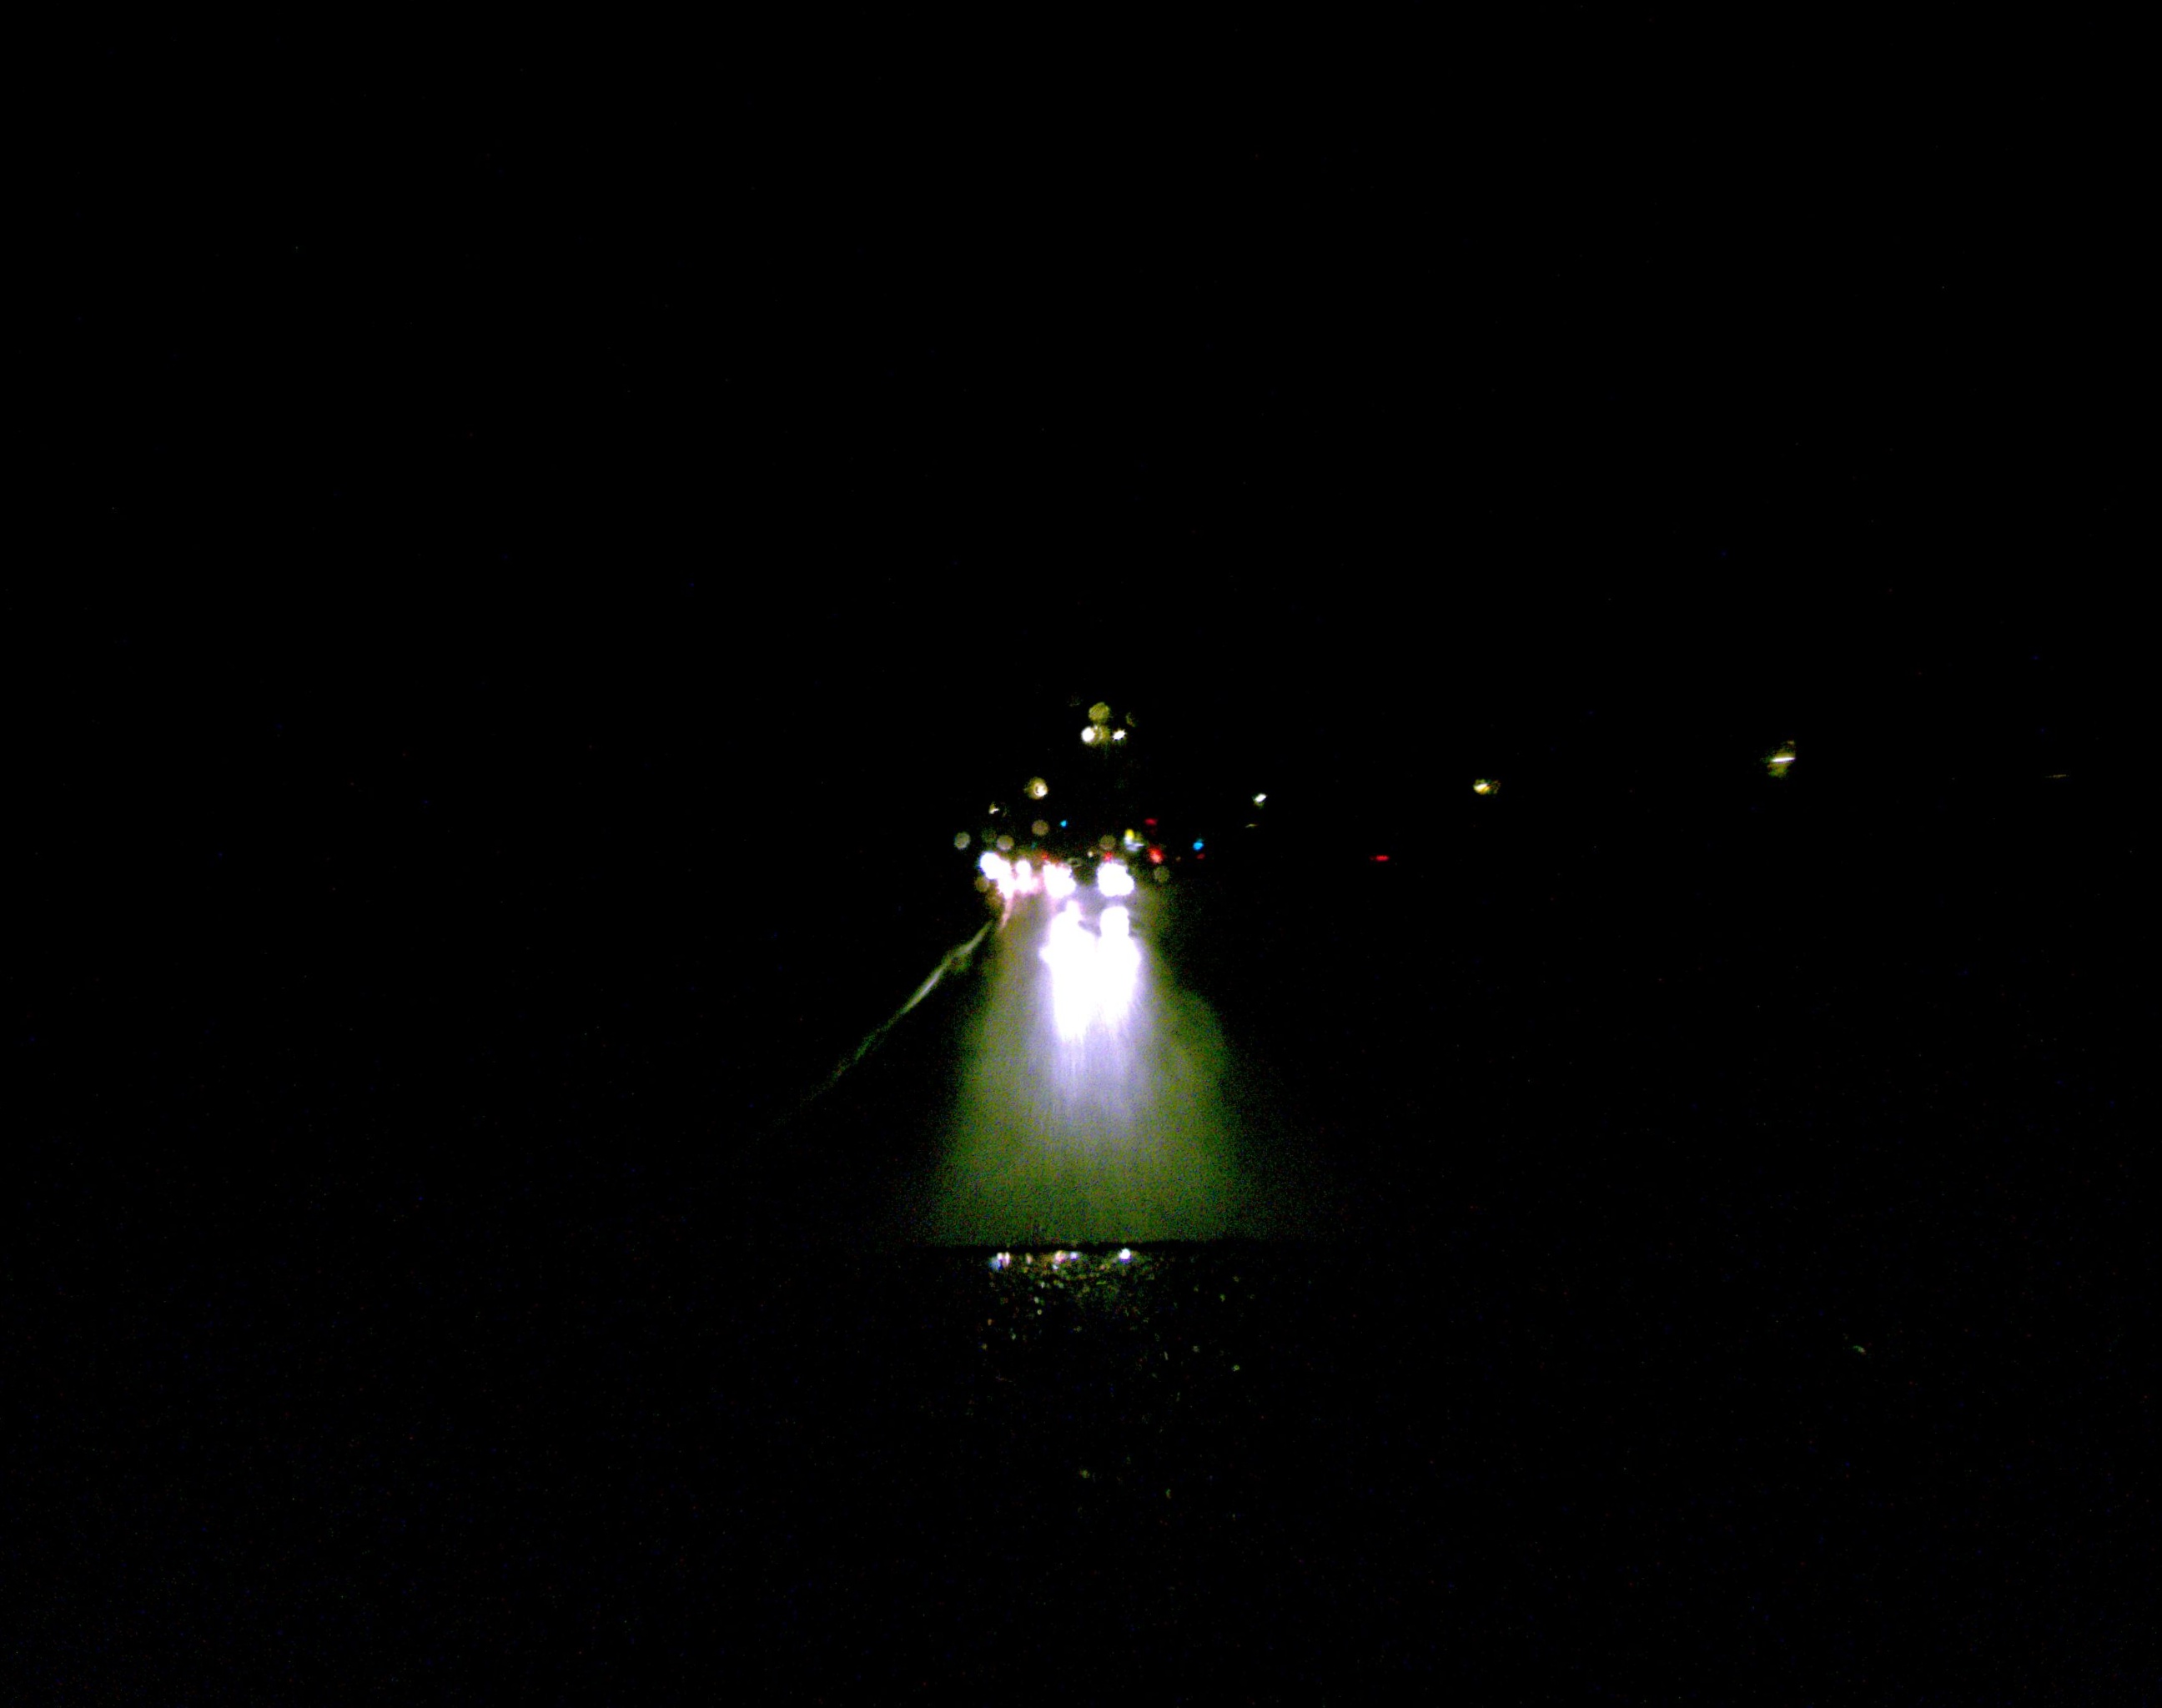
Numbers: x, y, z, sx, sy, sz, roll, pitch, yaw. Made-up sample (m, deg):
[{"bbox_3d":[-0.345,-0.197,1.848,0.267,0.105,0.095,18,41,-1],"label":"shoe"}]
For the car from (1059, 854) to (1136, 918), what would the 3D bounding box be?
[{"bbox_3d":[0.473,0.860,22.622,1.998,1.585,4.608,-2,1,1],"label":"car"}]

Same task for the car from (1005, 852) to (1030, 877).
[{"bbox_3d":[-4.974,0.802,60.190,1.709,1.761,3.999,-2,1,-2],"label":"car"}]

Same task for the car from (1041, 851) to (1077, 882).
[{"bbox_3d":[-1.508,0.856,53.644,1.898,2.002,4.002,-2,1,7],"label":"car"}]

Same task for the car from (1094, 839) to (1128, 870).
[{"bbox_3d":[2.086,-0.006,52.329,1.997,2.002,4.001,-2,1,6],"label":"car"}]
